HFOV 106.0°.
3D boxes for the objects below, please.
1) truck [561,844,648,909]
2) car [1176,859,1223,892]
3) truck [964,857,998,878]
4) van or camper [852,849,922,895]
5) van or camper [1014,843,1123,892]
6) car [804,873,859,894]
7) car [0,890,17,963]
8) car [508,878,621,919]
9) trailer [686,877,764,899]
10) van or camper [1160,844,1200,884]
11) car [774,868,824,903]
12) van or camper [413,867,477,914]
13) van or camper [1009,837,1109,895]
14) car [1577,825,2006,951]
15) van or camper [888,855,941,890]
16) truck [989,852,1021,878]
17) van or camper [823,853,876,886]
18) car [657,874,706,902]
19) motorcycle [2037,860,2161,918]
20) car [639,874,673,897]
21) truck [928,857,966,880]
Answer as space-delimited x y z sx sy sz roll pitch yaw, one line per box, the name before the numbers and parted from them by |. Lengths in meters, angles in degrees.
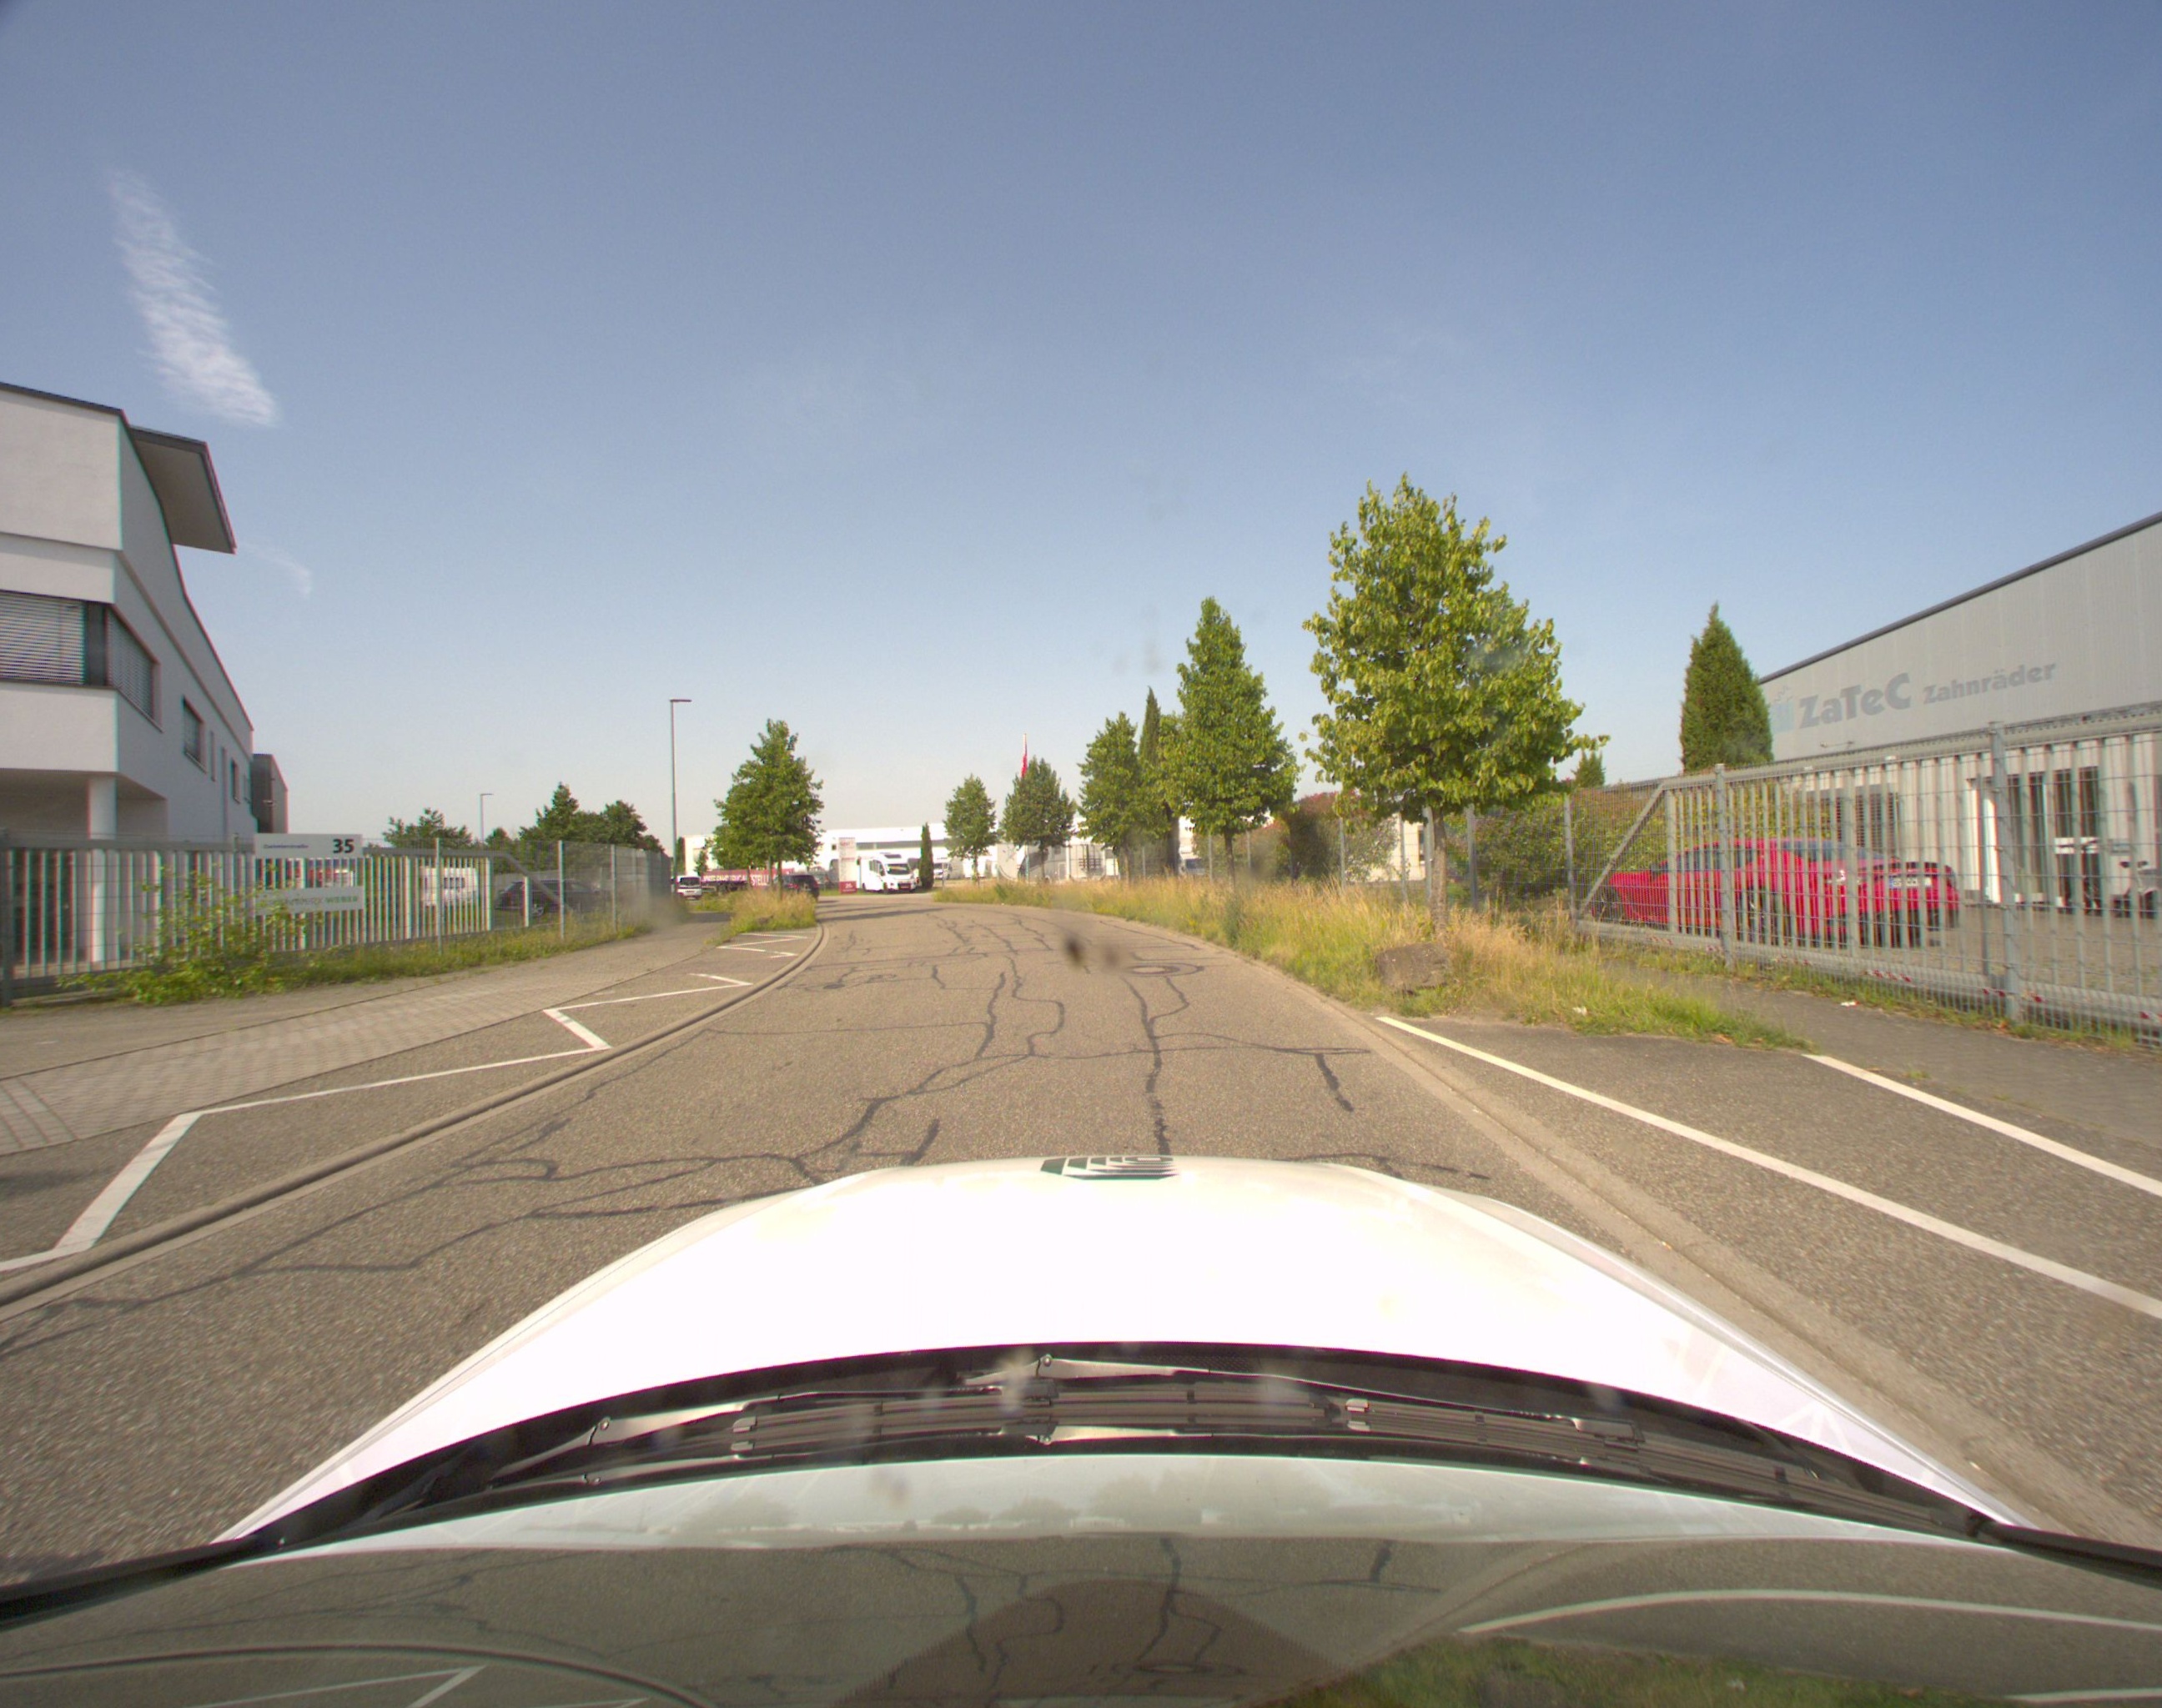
truck | -32.382 1.570 55.014 2.649 3.929 12.763 0 -2 -41
car | 6.132 1.072 42.598 1.718 1.643 3.996 0 -1 -2
truck | -11.545 1.575 94.630 2.440 2.265 8.010 -2 -1 4
van or camper | -13.663 1.263 56.878 2.348 2.943 6.896 -1 -1 -35
van or camper | -0.873 0.936 55.754 7.243 3.032 2.582 -2 -1 -4
car | -19.900 2.332 65.123 2.148 1.476 4.019 -2 -1 18
car | -21.015 1.388 14.663 1.572 1.415 3.874 -1 -1 -42
car | -20.498 1.740 32.406 1.577 1.454 3.524 -3 -2 45
trailer | -27.999 2.683 63.720 2.647 1.388 9.338 -4 1 -43
van or camper | 7.558 0.828 63.109 2.312 2.864 6.609 -2 -2 1
car | -16.200 1.838 46.708 2.006 1.805 3.962 -3 -1 -29
van or camper | -37.719 2.141 48.231 4.891 2.560 2.326 -3 -1 44
van or camper | -1.335 0.697 44.159 2.363 2.848 7.274 -1 -1 -28
car | 9.478 0.408 11.580 1.875 1.358 4.772 -2 -1 0
van or camper | -13.135 1.415 64.804 2.473 2.559 6.630 -2 0 3
truck | -8.735 1.223 94.467 2.440 2.826 8.010 -2 -1 4
van or camper | -22.653 1.485 79.960 2.649 3.084 6.804 -2 0 5
car | -30.025 2.551 61.180 2.011 1.899 4.412 -1 -1 -44
motorcycle | 14.701 0.474 11.502 0.532 0.751 1.584 -3 -1 3
car | -39.869 2.914 76.414 1.834 1.978 3.952 -5 2 -41
truck | -15.093 1.580 92.110 2.440 2.471 8.010 -2 -1 4
